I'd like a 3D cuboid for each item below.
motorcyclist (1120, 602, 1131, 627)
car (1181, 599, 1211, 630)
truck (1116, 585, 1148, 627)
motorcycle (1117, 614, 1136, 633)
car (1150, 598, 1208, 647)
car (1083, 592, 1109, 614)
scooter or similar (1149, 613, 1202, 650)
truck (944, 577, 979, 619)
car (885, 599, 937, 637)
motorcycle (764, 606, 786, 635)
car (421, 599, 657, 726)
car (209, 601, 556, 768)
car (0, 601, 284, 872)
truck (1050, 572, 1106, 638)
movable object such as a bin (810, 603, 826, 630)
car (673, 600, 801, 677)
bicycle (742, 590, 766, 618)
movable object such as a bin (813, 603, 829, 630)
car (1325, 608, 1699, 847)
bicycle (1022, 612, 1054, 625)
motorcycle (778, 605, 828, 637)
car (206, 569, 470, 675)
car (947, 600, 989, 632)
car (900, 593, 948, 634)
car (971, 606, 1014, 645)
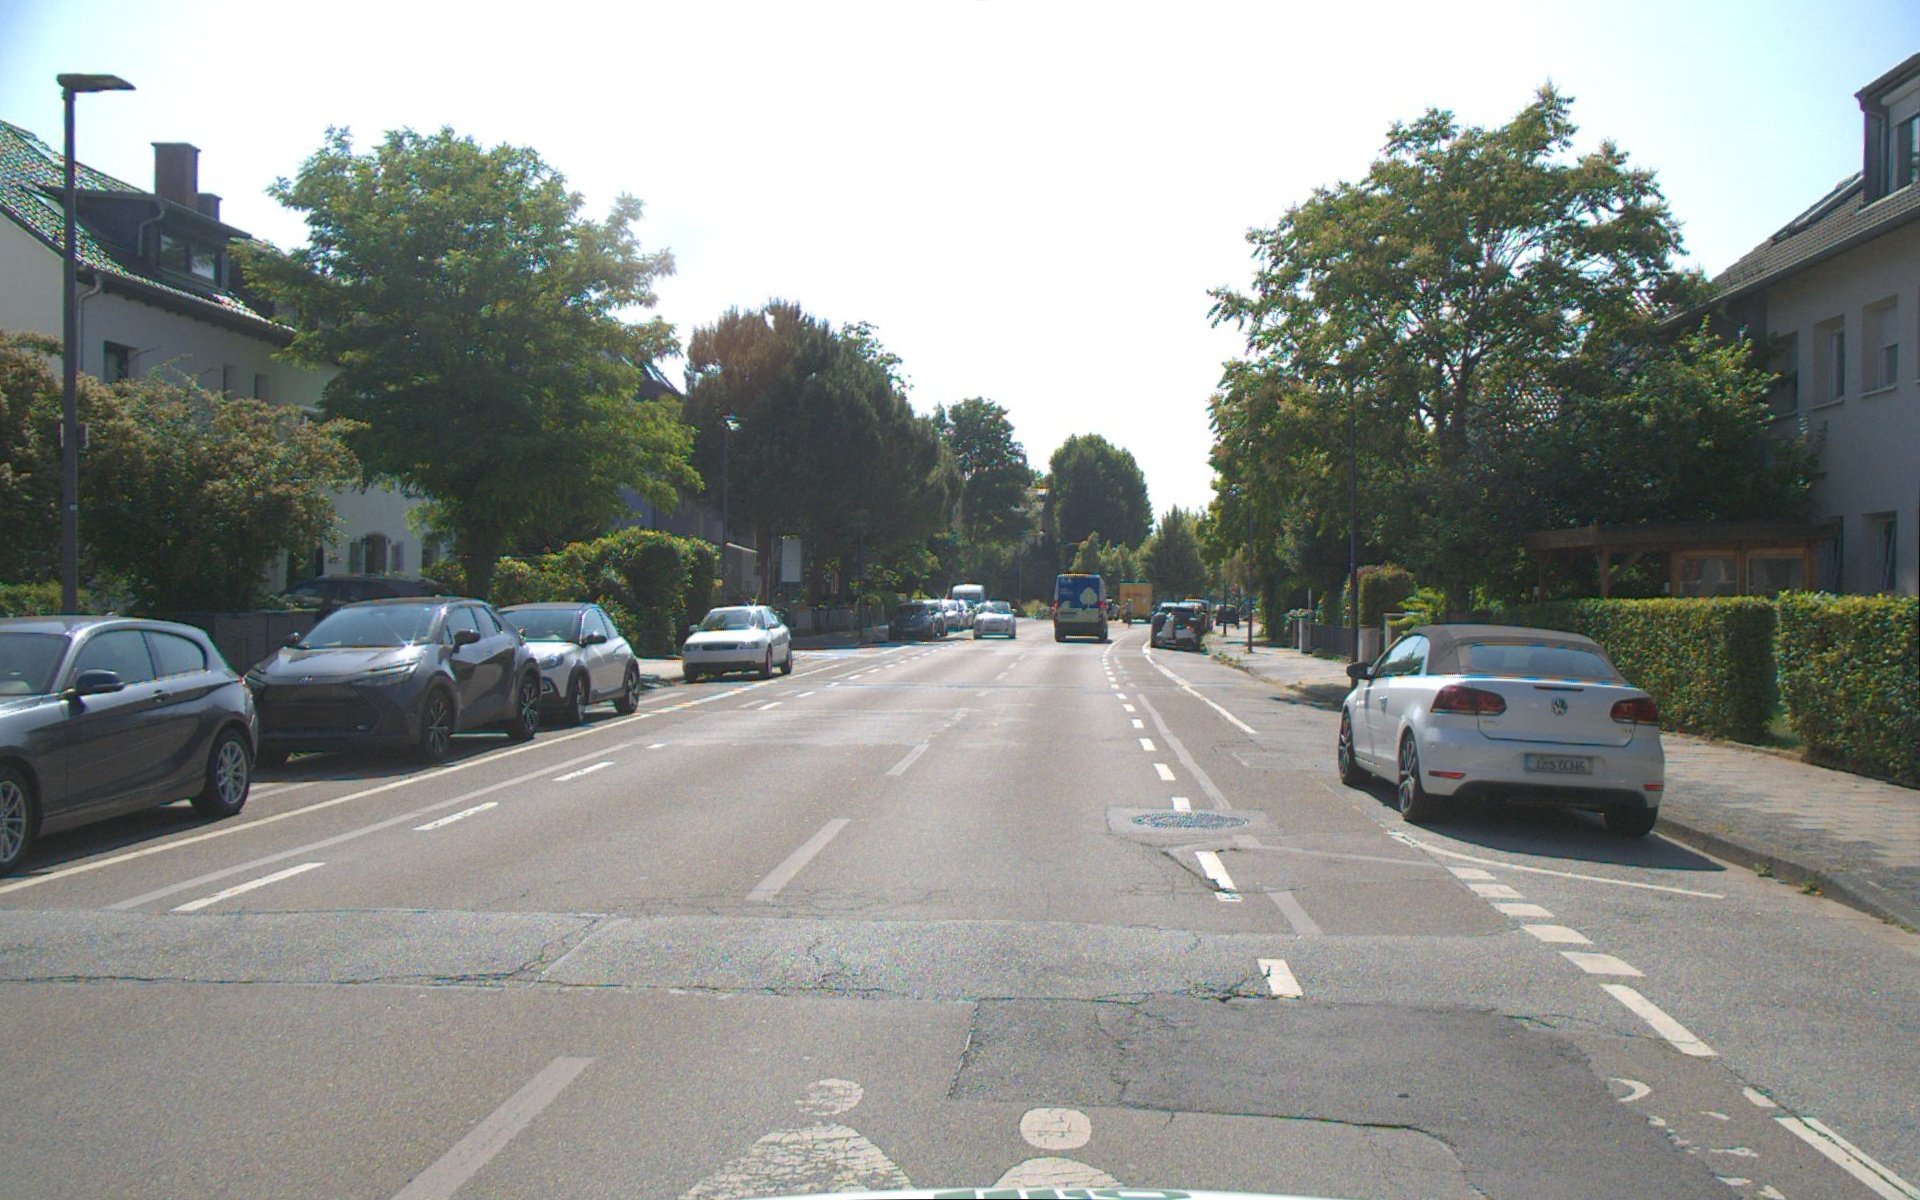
[{"bbox_3d":[10.098,0.887,100.683,0.658,1.545,0.653,0,-1,5],"label":"motorcyclist"},{"bbox_3d":[13.473,0.816,94.596,1.664,1.706,3.777,0,0,7],"label":"car"},{"bbox_3d":[12.645,0.428,121.947,2.167,2.998,5.689,0,-1,5],"label":"truck"},{"bbox_3d":[10.152,1.413,100.904,1.034,1.142,2.993,0,0,4],"label":"motorcycle"},{"bbox_3d":[8.100,0.795,60.810,1.747,1.666,4.474,2,0,12],"label":"car"},{"bbox_3d":[10.866,0.214,132.010,1.951,1.686,4.607,0,0,5],"label":"car"},{"bbox_3d":[7.561,1.108,58.050,0.713,1.174,1.771,4,0,-41],"label":"scooter or similar"},{"bbox_3d":[0.143,-0.132,103.292,2.037,2.582,5.468,0,0,1],"label":"truck"},{"bbox_3d":[-1.971,0.723,67.906,1.743,1.485,4.088,-2,0,3],"label":"car"},{"bbox_3d":[-7.722,0.843,69.215,0.525,1.202,1.447,0,-1,10],"label":"motorcycle"},{"bbox_3d":[-5.371,0.742,21.642,1.747,1.465,4.002,1,0,5],"label":"car"},{"bbox_3d":[-5.628,0.753,16.696,1.747,1.465,4.113,-1,0,5],"label":"car"},{"bbox_3d":[-6.046,0.758,10.402,1.748,1.465,4.156,-1,0,2],"label":"car"},{"bbox_3d":[4.828,0.212,67.461,2.224,2.616,4.394,0,-1,4],"label":"truck"},{"bbox_3d":[-5.996,0.712,69.901,0.532,1.131,0.519,0,-1,10],"label":"movable object such as a bin"},{"bbox_3d":[-4.470,0.734,33.658,1.747,1.465,4.002,0,0,5],"label":"car"},{"bbox_3d":[-9.250,0.163,74.280,0.525,1.202,1.447,0,2,17],"label":"bicycle"},{"bbox_3d":[-5.918,0.700,70.536,0.532,1.131,0.585,0,-1,10],"label":"movable object such as a bin"},{"bbox_3d":[4.090,0.848,12.964,1.704,1.426,4.075,4,0,3],"label":"car"},{"bbox_3d":[6.588,1.525,139.337,2.635,1.066,1.025,0,-1,-4],"label":"bicycle"},{"bbox_3d":[-6.029,0.792,63.614,1.800,1.202,0.643,0,-1,9],"label":"motorcycle"},{"bbox_3d":[-11.051,0.365,29.551,3.903,1.790,2.001,1,0,4],"label":"car"},{"bbox_3d":[0.412,0.828,84.849,1.796,1.623,3.777,0,-1,6],"label":"car"},{"bbox_3d":[-1.580,0.566,73.801,1.869,1.706,4.260,-1,1,2],"label":"car"},{"bbox_3d":[1.403,1.051,69.692,1.696,1.568,4.001,-1,-1,3],"label":"car"}]
